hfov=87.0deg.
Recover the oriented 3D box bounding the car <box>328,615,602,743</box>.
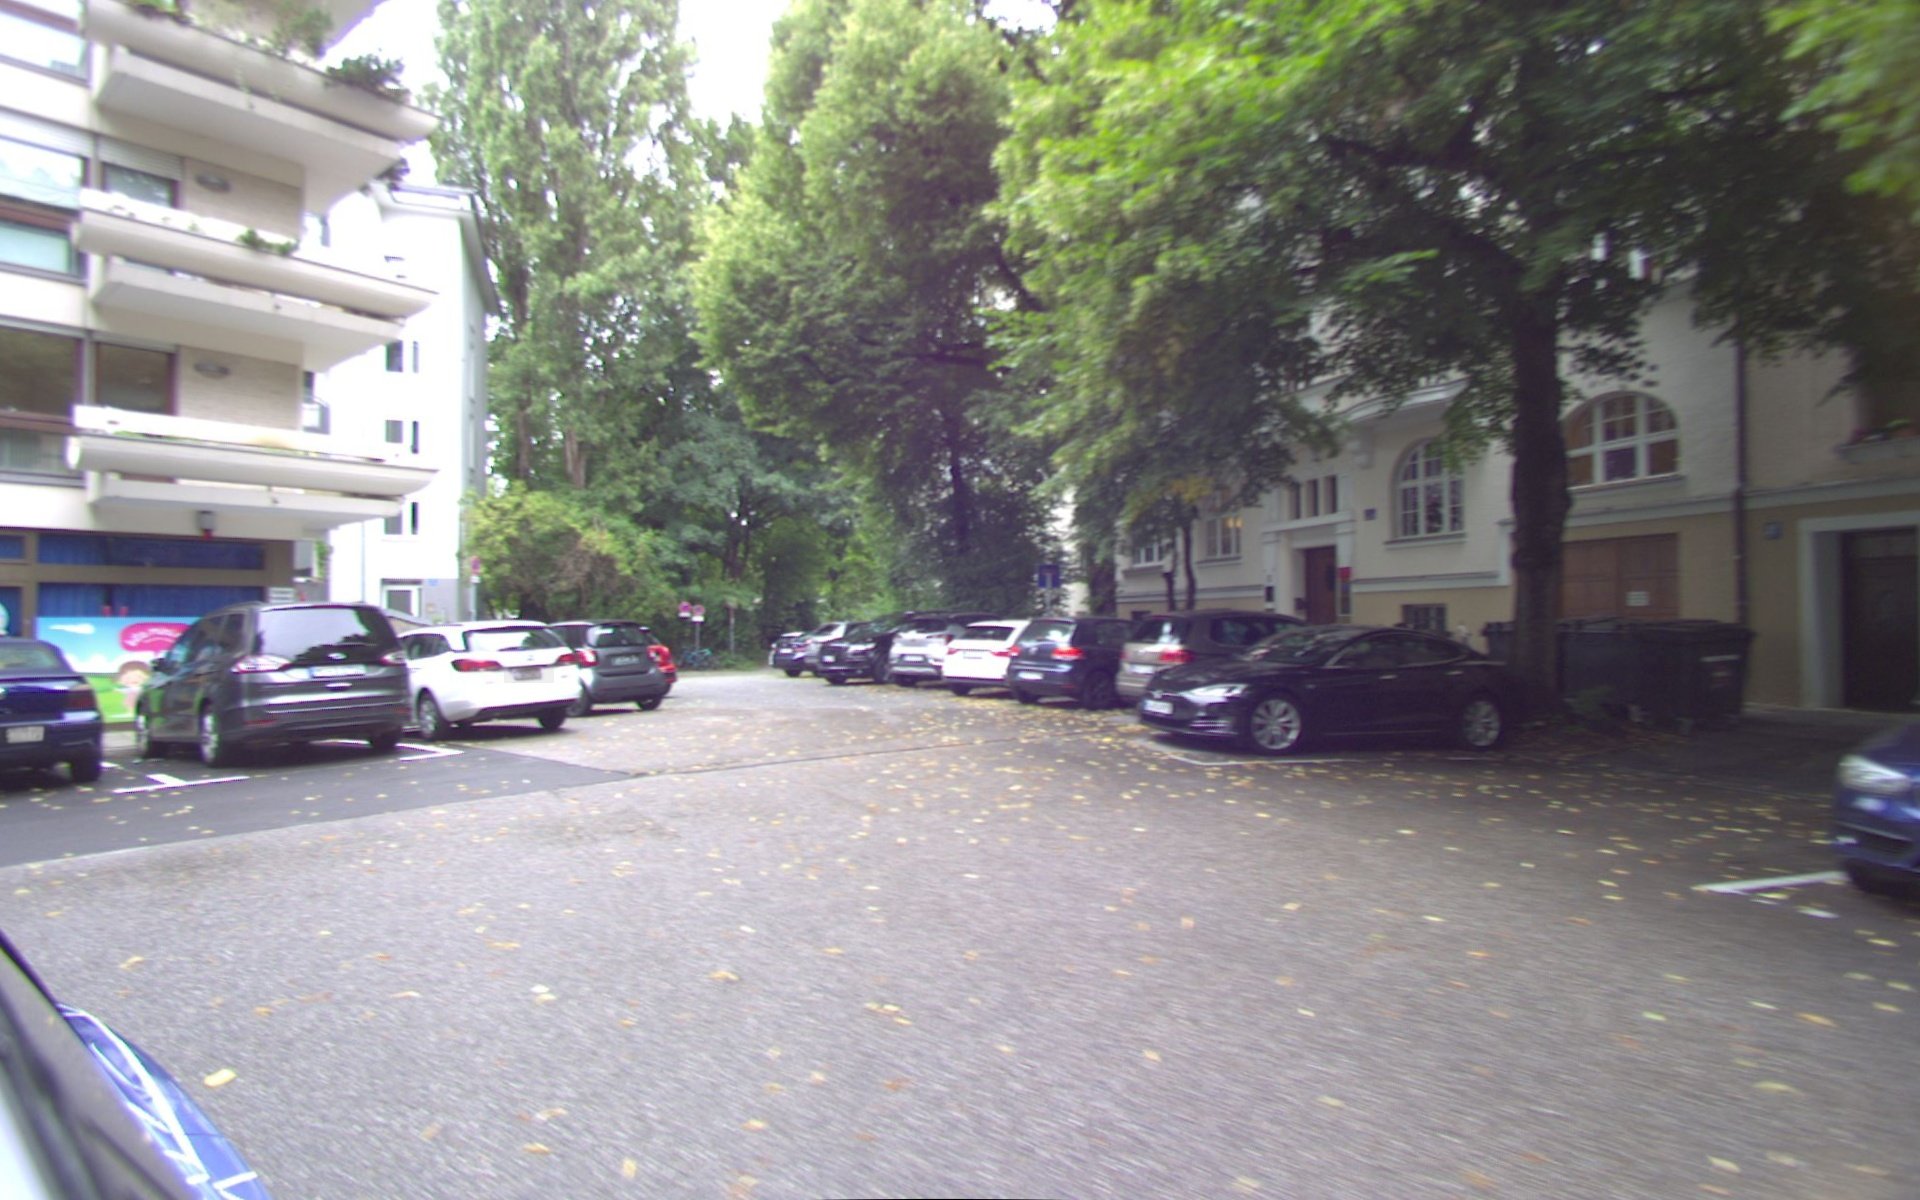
[{"bbox_3d":[-6.804,1.066,13.760,3.995,1.490,1.812,-5,-4,38],"label":"car"}]

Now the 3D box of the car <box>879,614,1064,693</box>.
[{"bbox_3d":[0.318,1.081,21.894,1.875,1.521,3.944,-1,-1,42],"label":"car"}]

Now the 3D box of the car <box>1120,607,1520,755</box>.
[{"bbox_3d":[4.167,0.896,11.753,4.214,1.478,1.715,2,-1,-20],"label":"car"}]

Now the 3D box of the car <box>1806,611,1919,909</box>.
[{"bbox_3d":[6.627,0.775,5.247,4.267,1.394,1.851,1,-2,-26],"label":"car"}]

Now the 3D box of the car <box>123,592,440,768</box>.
[{"bbox_3d":[-8.030,0.901,11.835,4.228,1.697,1.878,-4,-3,38],"label":"car"}]

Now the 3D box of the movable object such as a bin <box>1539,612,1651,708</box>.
[{"bbox_3d":[9.611,0.878,15.347,0.849,1.359,1.125,-1,0,-25],"label":"movable object such as a bin"}]

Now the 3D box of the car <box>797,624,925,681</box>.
[{"bbox_3d":[-2.793,1.458,29.336,1.717,1.489,3.959,-1,-1,30],"label":"car"}]

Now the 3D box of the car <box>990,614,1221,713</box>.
[{"bbox_3d":[2.529,0.971,17.055,3.940,1.442,1.799,0,-1,-44],"label":"car"}]

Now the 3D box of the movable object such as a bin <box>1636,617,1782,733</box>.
[{"bbox_3d":[9.248,0.890,12.510,1.407,1.315,0.868,0,1,-24],"label":"movable object such as a bin"}]

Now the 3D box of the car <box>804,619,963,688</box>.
[{"bbox_3d":[-1.686,1.176,23.684,2.051,1.412,3.966,-1,-1,25],"label":"car"}]

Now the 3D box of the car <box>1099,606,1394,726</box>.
[{"bbox_3d":[4.200,0.866,14.787,3.955,1.542,1.850,0,-1,-28],"label":"car"}]

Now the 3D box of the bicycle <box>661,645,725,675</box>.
[{"bbox_3d":[-10.779,2.403,40.832,2.428,1.126,0.828,0,-1,-18],"label":"bicycle"}]

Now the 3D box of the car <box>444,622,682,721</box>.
[{"bbox_3d":[-6.785,1.225,17.182,3.989,1.490,1.815,-5,-4,34],"label":"car"}]

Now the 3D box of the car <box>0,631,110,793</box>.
[{"bbox_3d":[-9.942,1.097,9.979,4.068,1.378,1.695,-4,-3,40],"label":"car"}]

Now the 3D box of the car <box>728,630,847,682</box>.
[{"bbox_3d":[-5.550,1.778,33.067,1.717,1.489,3.959,-1,-1,30],"label":"car"}]

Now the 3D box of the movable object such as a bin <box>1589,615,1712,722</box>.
[{"bbox_3d":[9.229,0.887,13.540,1.349,1.358,0.717,0,-1,-23],"label":"movable object such as a bin"}]

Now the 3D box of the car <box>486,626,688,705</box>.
[{"bbox_3d":[-7.541,1.252,20.386,3.986,1.409,1.738,-1,-1,31],"label":"car"}]

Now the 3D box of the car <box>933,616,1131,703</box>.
[{"bbox_3d":[1.454,1.047,19.285,1.724,1.442,3.944,-1,-1,42],"label":"car"}]

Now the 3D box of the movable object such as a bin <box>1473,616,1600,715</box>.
[{"bbox_3d":[8.457,0.922,14.870,1.136,1.359,1.157,-1,0,-25],"label":"movable object such as a bin"}]

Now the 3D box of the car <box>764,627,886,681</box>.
[{"bbox_3d":[-4.122,1.621,31.514,1.717,1.489,3.959,-1,-1,30],"label":"car"}]
